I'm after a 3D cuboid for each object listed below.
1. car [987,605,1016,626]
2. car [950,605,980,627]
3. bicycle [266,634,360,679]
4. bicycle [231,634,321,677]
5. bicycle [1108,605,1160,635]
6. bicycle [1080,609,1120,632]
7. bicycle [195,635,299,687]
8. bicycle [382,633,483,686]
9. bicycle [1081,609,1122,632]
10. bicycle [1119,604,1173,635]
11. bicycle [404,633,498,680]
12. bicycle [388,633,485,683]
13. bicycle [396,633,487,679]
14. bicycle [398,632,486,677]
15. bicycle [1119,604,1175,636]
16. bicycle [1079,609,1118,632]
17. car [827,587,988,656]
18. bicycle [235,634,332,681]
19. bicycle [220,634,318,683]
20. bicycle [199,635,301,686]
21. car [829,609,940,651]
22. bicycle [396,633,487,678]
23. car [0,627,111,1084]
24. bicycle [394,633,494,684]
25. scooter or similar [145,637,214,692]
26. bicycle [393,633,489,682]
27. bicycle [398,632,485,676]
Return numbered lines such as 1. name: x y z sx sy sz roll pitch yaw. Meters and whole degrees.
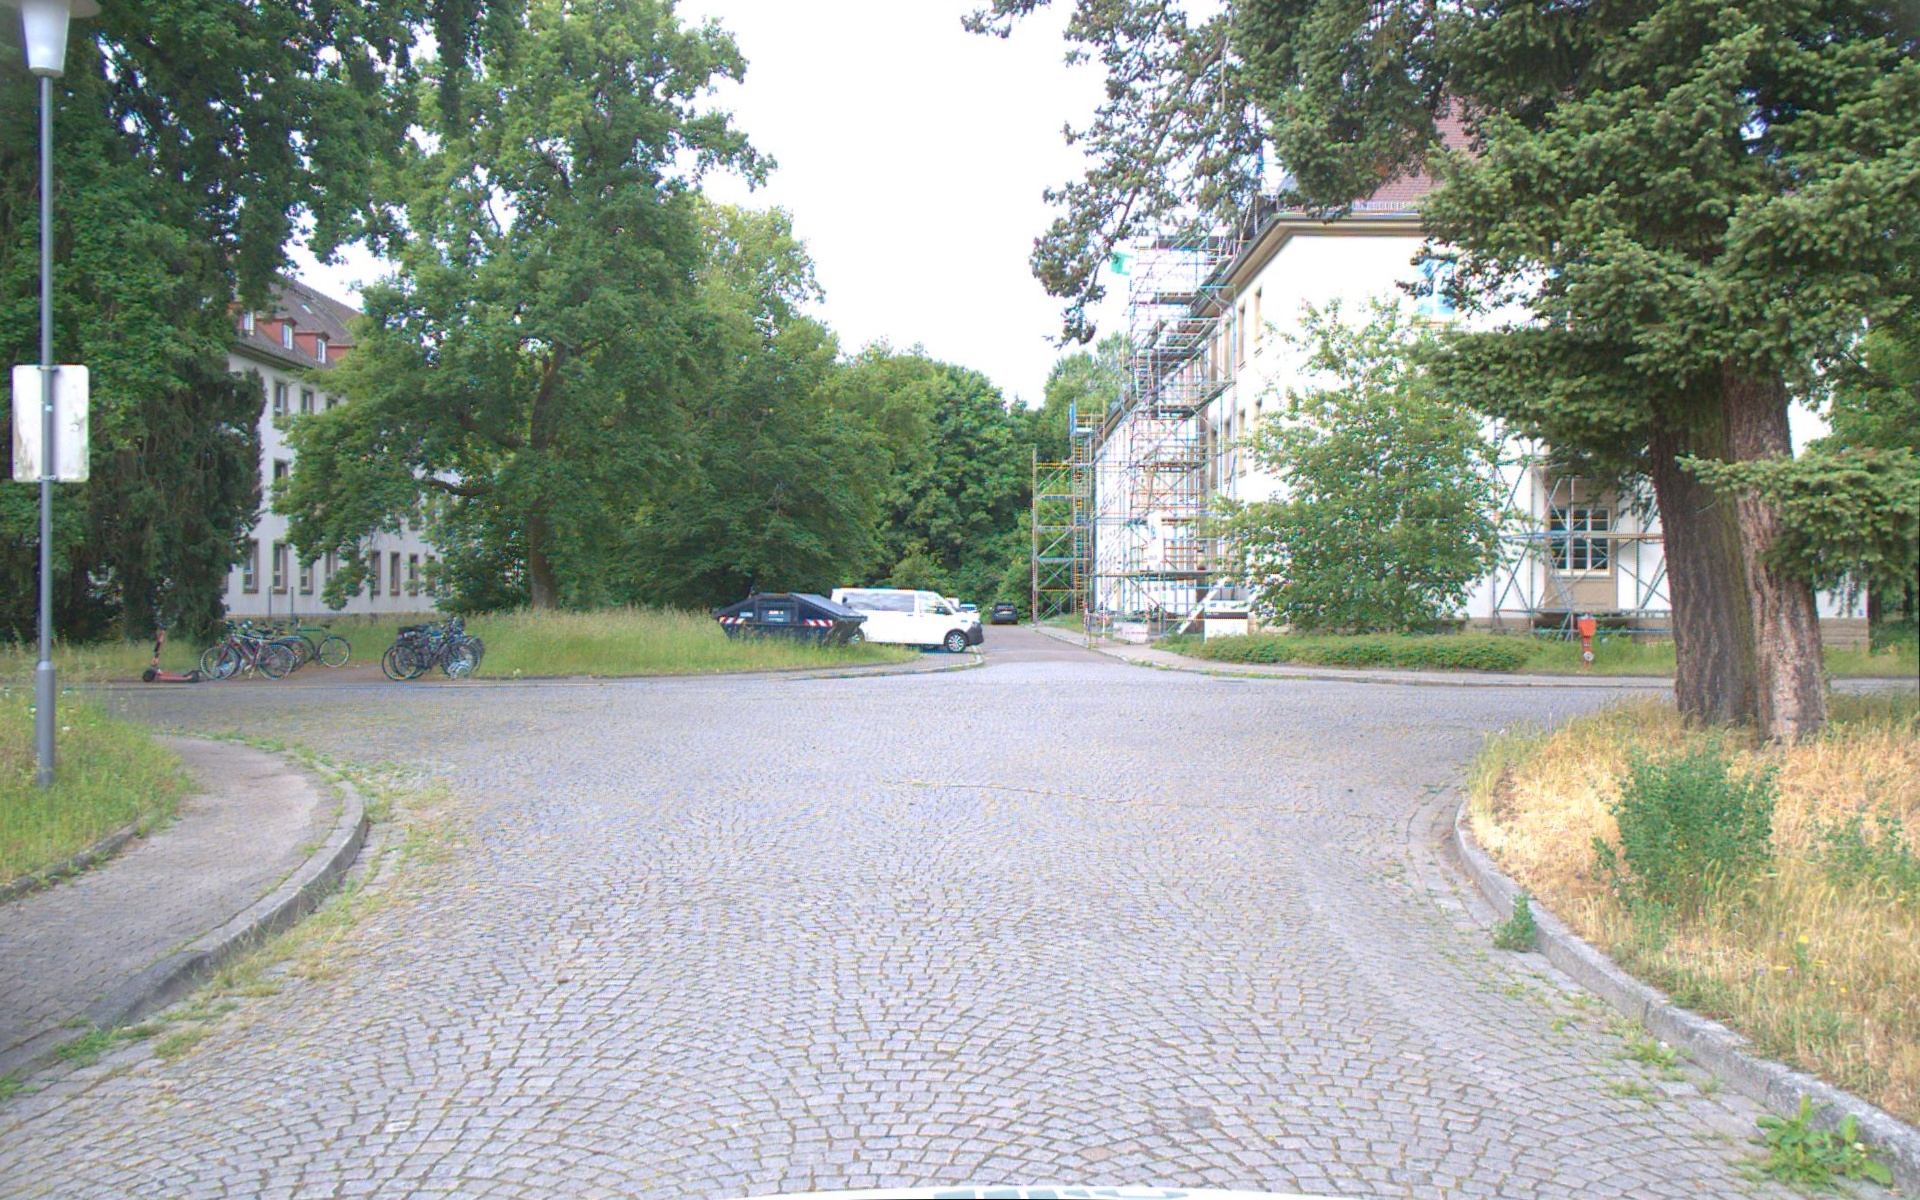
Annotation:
1. car: 2.972 1.127 120.288 1.912 1.548 3.998 0 0 -2
2. car: 0.349 1.148 119.972 2.076 1.548 3.999 0 0 -1
3. bicycle: -14.978 1.298 38.324 1.922 1.007 0.625 0 -1 -11
4. bicycle: -16.421 1.329 39.740 1.927 1.007 0.624 0 -1 -17
5. bicycle: 7.486 0.860 71.250 2.194 1.276 0.778 0 -1 2
6. bicycle: 7.760 1.125 91.958 2.194 1.276 0.698 0 -1 2
7. bicycle: -14.557 1.236 33.773 1.934 1.007 0.621 0 -1 -27
8. bicycle: -10.685 1.196 33.534 1.929 1.007 0.623 0 -1 -21
9. bicycle: 7.750 1.109 90.739 2.194 1.276 0.627 0 -1 2
10. bicycle: 7.754 0.827 68.907 2.194 1.276 0.778 0 -1 2
11. bicycle: -11.268 1.241 36.628 1.931 1.007 0.622 0 -1 -23
12. bicycle: -11.113 1.221 35.127 1.931 1.007 0.622 0 -1 -23
13. bicycle: -11.709 1.255 37.350 1.931 1.007 0.622 0 -1 -23
14. bicycle: -12.224 1.281 39.054 1.931 1.007 0.622 0 -1 -23
15. bicycle: 7.554 0.805 66.994 2.194 1.276 0.778 0 -1 2
16. bicycle: 7.763 1.135 92.802 2.194 1.276 0.634 0 -1 2
17. car: -1.719 0.684 53.967 5.130 2.206 1.999 0 0 -3
18. bicycle: -15.252 1.288 37.314 1.922 1.007 0.625 0 -1 -11
19. bicycle: -15.020 1.269 35.968 1.934 1.007 0.621 0 -1 -27
20. bicycle: -14.686 1.243 34.262 1.931 1.007 0.622 0 -1 -23
21. car: -2.572 1.016 56.550 3.713 1.420 1.999 0 0 -3
22. bicycle: -11.887 1.263 37.931 1.931 1.007 0.622 0 -1 -23
23. car: -5.261 0.814 5.120 4.214 1.486 1.975 1 0 1
24. bicycle: -10.662 1.204 34.159 1.931 1.007 0.622 0 -1 -23
25. scooter or similar: -15.545 1.276 32.921 1.321 1.056 0.453 0 -1 21
26. bicycle: -11.212 1.229 35.752 1.931 1.007 0.622 0 -1 -23
27. bicycle: -12.421 1.290 39.622 1.931 1.007 0.622 0 -1 -23
